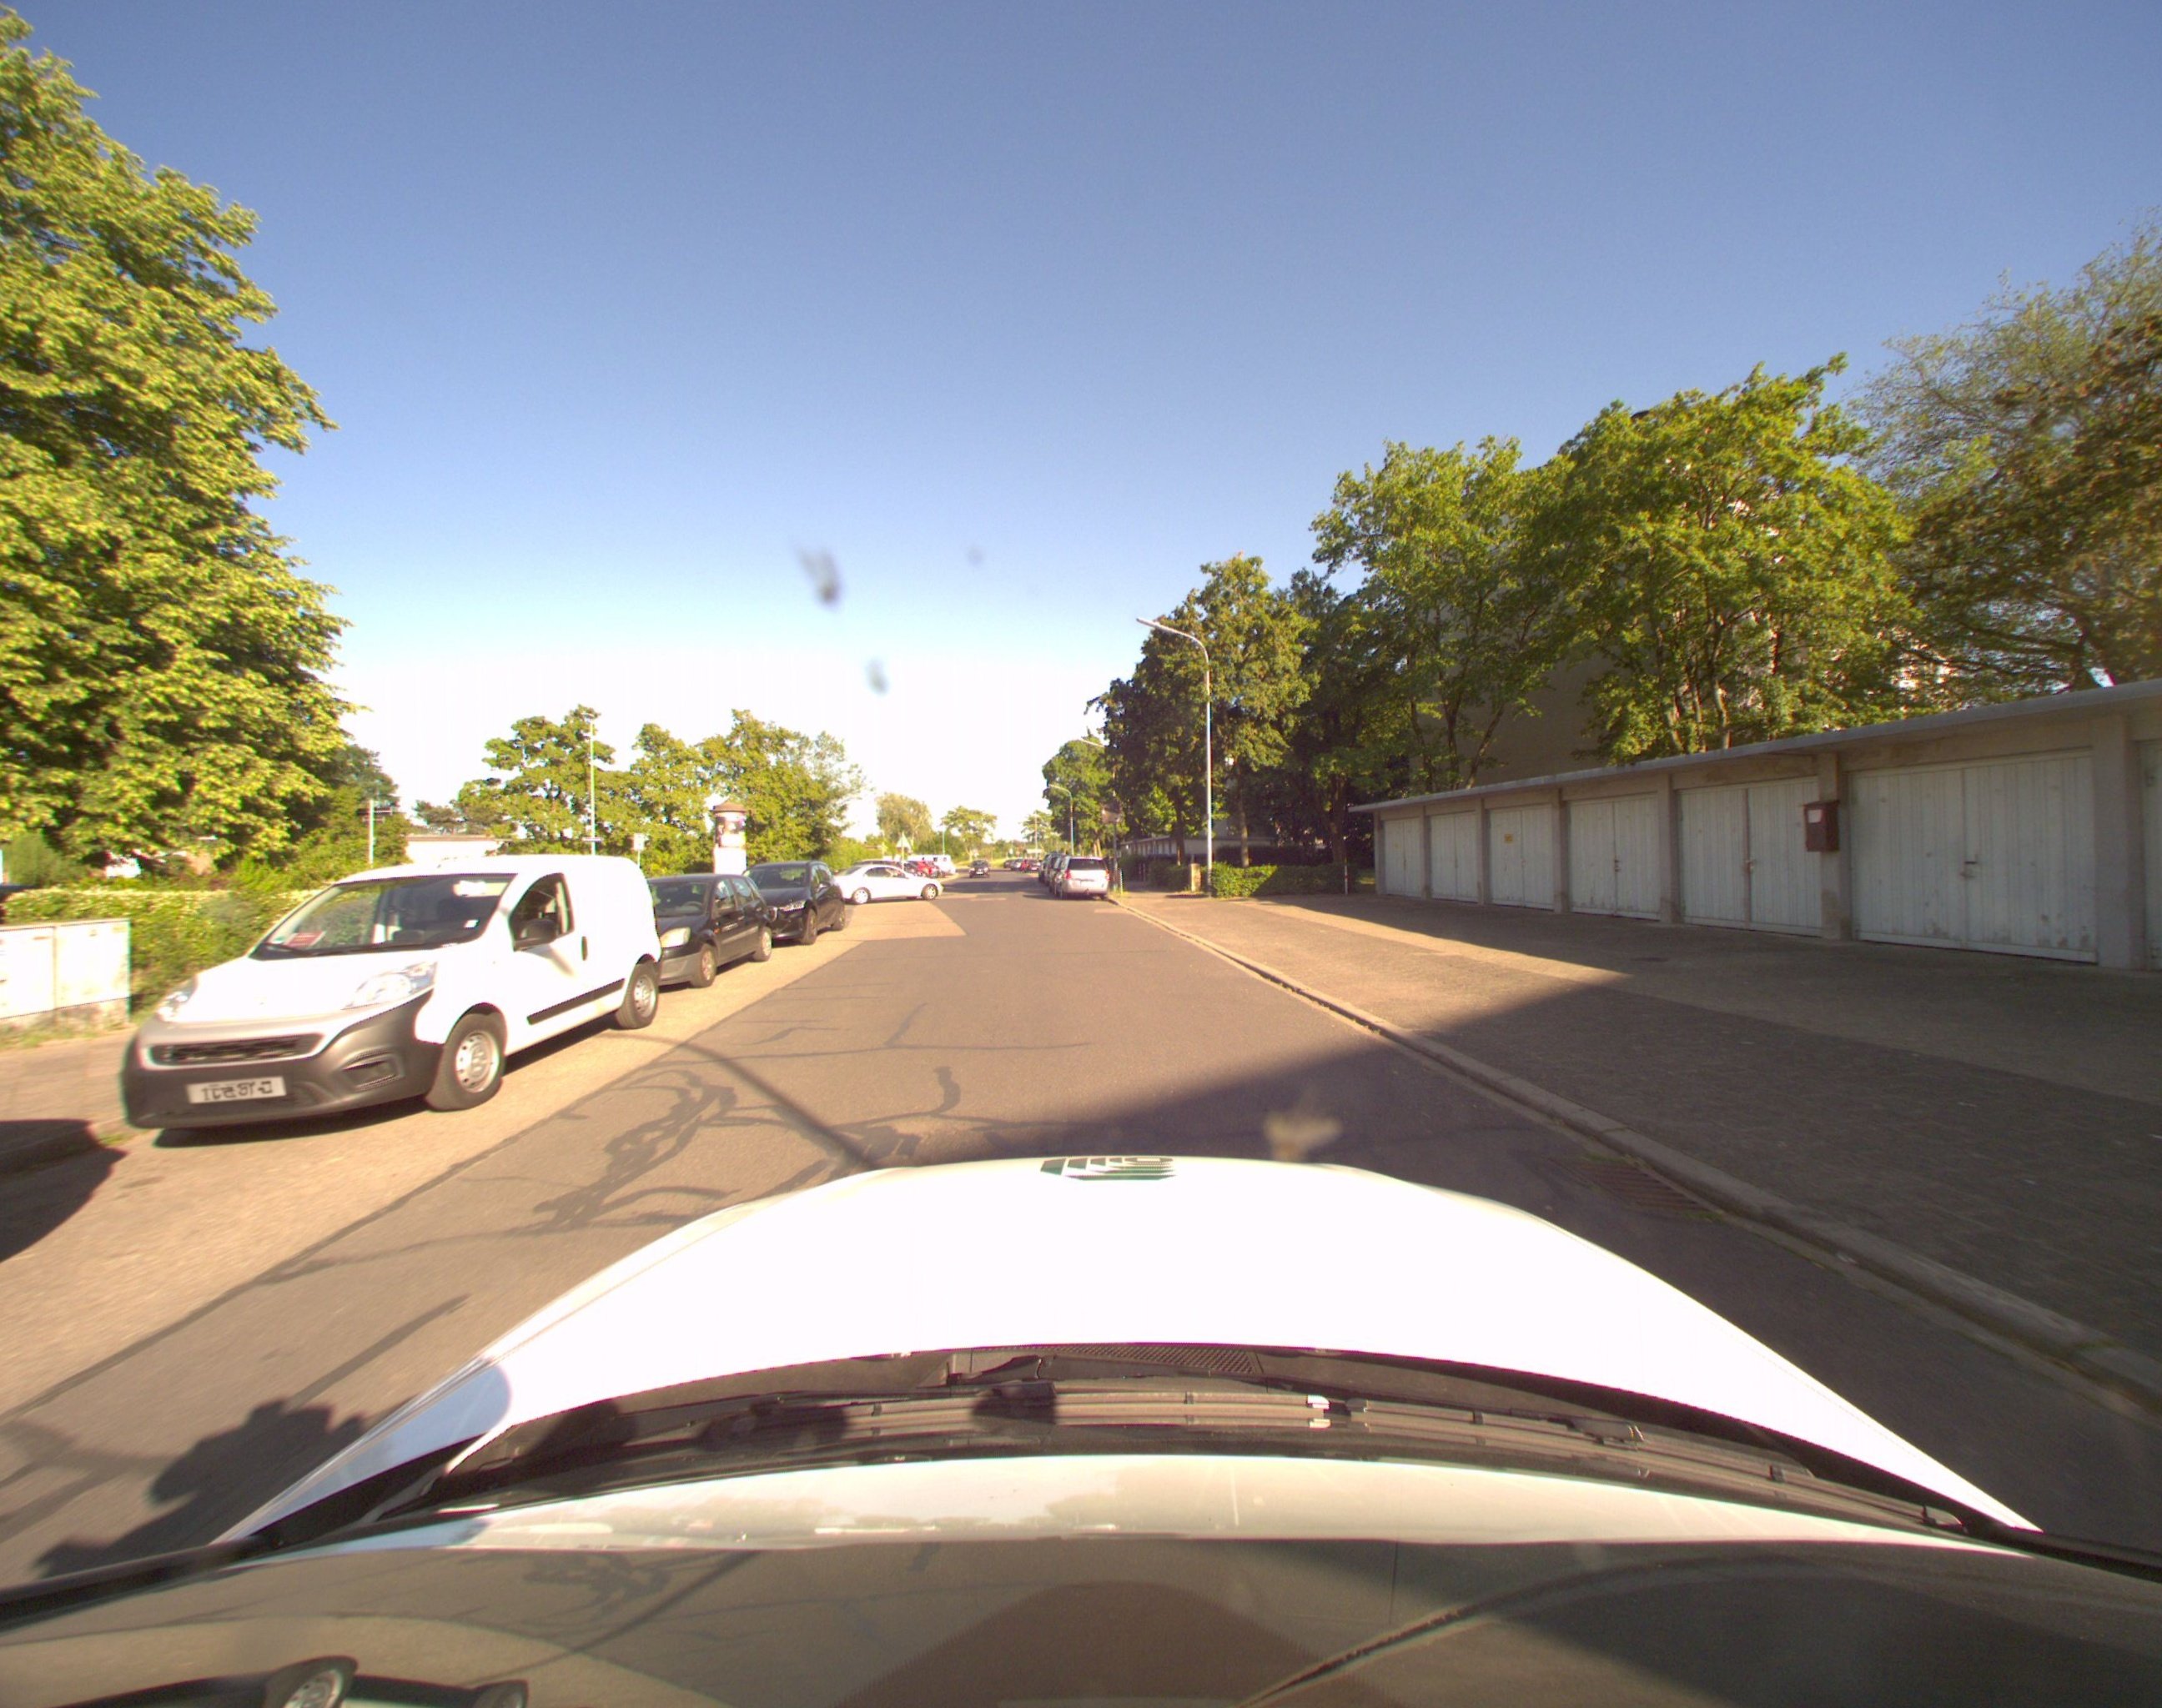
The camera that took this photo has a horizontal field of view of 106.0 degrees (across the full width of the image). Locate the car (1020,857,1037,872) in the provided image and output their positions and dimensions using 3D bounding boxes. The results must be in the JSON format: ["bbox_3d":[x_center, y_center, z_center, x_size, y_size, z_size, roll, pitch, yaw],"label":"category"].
[{"bbox_3d":[-5.996,1.215,92.696,1.794,1.643,3.942,0,0,-7],"label":"car"}]

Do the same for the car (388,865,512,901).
[{"bbox_3d":[-24.882,1.126,32.206,3.497,1.361,1.602,0,-1,-10],"label":"car"}]

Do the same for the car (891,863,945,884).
[{"bbox_3d":[-12.555,1.485,62.861,4.054,1.562,1.796,0,-1,-10],"label":"car"}]

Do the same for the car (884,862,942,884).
[{"bbox_3d":[-12.080,1.355,58.830,4.054,1.562,1.796,0,-1,-10],"label":"car"}]

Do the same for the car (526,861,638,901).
[{"bbox_3d":[-20.318,1.078,33.279,3.497,1.562,1.602,0,-1,-10],"label":"car"}]

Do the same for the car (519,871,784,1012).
[{"bbox_3d":[-5.722,1.049,11.514,1.743,1.478,4.146,-2,0,-5],"label":"car"}]

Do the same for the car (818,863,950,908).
[{"bbox_3d":[-7.373,1.143,30.644,4.418,1.436,1.824,-2,0,-34],"label":"car"}]

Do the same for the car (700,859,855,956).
[{"bbox_3d":[-5.895,0.949,16.405,1.743,1.613,4.300,-2,0,-5],"label":"car"}]

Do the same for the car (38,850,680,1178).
[{"bbox_3d":[-5.003,0.891,6.561,1.743,1.732,3.999,-2,0,-5],"label":"car"}]

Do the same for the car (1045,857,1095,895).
[{"bbox_3d":[-0.533,0.923,35.645,1.794,1.562,3.942,0,0,-7],"label":"car"}]

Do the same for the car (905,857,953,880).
[{"bbox_3d":[-13.310,1.241,71.348,4.054,1.992,1.796,0,-1,-10],"label":"car"}]

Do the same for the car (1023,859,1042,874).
[{"bbox_3d":[-5.084,1.261,85.248,1.794,1.549,3.942,0,0,-7],"label":"car"}]

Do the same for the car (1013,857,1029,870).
[{"bbox_3d":[-7.531,1.196,102.433,1.794,1.643,3.942,0,0,-7],"label":"car"}]

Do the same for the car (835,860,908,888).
[{"bbox_3d":[-12.327,1.144,48.106,4.054,1.562,1.796,0,-1,-10],"label":"car"}]

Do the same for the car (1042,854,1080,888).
[{"bbox_3d":[-1.187,0.937,46.200,1.794,1.786,3.942,0,0,-7],"label":"car"}]

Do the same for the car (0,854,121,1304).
[{"bbox_3d":[-4.681,0.856,1.156,1.745,1.669,4.367,-2,0,-7],"label":"car"}]

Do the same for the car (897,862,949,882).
[{"bbox_3d":[-12.811,1.469,66.076,4.054,1.562,1.796,0,-1,-10],"label":"car"}]

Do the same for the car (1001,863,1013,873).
[{"bbox_3d":[-11.803,2.221,129.958,1.678,1.513,4.094,1,0,-7],"label":"car"}]

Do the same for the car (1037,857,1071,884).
[{"bbox_3d":[-1.701,0.998,50.539,1.794,1.643,3.942,0,0,-7],"label":"car"}]

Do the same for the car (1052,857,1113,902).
[{"bbox_3d":[-0.013,0.899,30.457,1.794,1.562,3.942,0,0,-7],"label":"car"}]

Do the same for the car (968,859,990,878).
[{"bbox_3d":[-8.538,1.179,68.370,1.794,1.562,3.942,0,0,-7],"label":"car"}]
